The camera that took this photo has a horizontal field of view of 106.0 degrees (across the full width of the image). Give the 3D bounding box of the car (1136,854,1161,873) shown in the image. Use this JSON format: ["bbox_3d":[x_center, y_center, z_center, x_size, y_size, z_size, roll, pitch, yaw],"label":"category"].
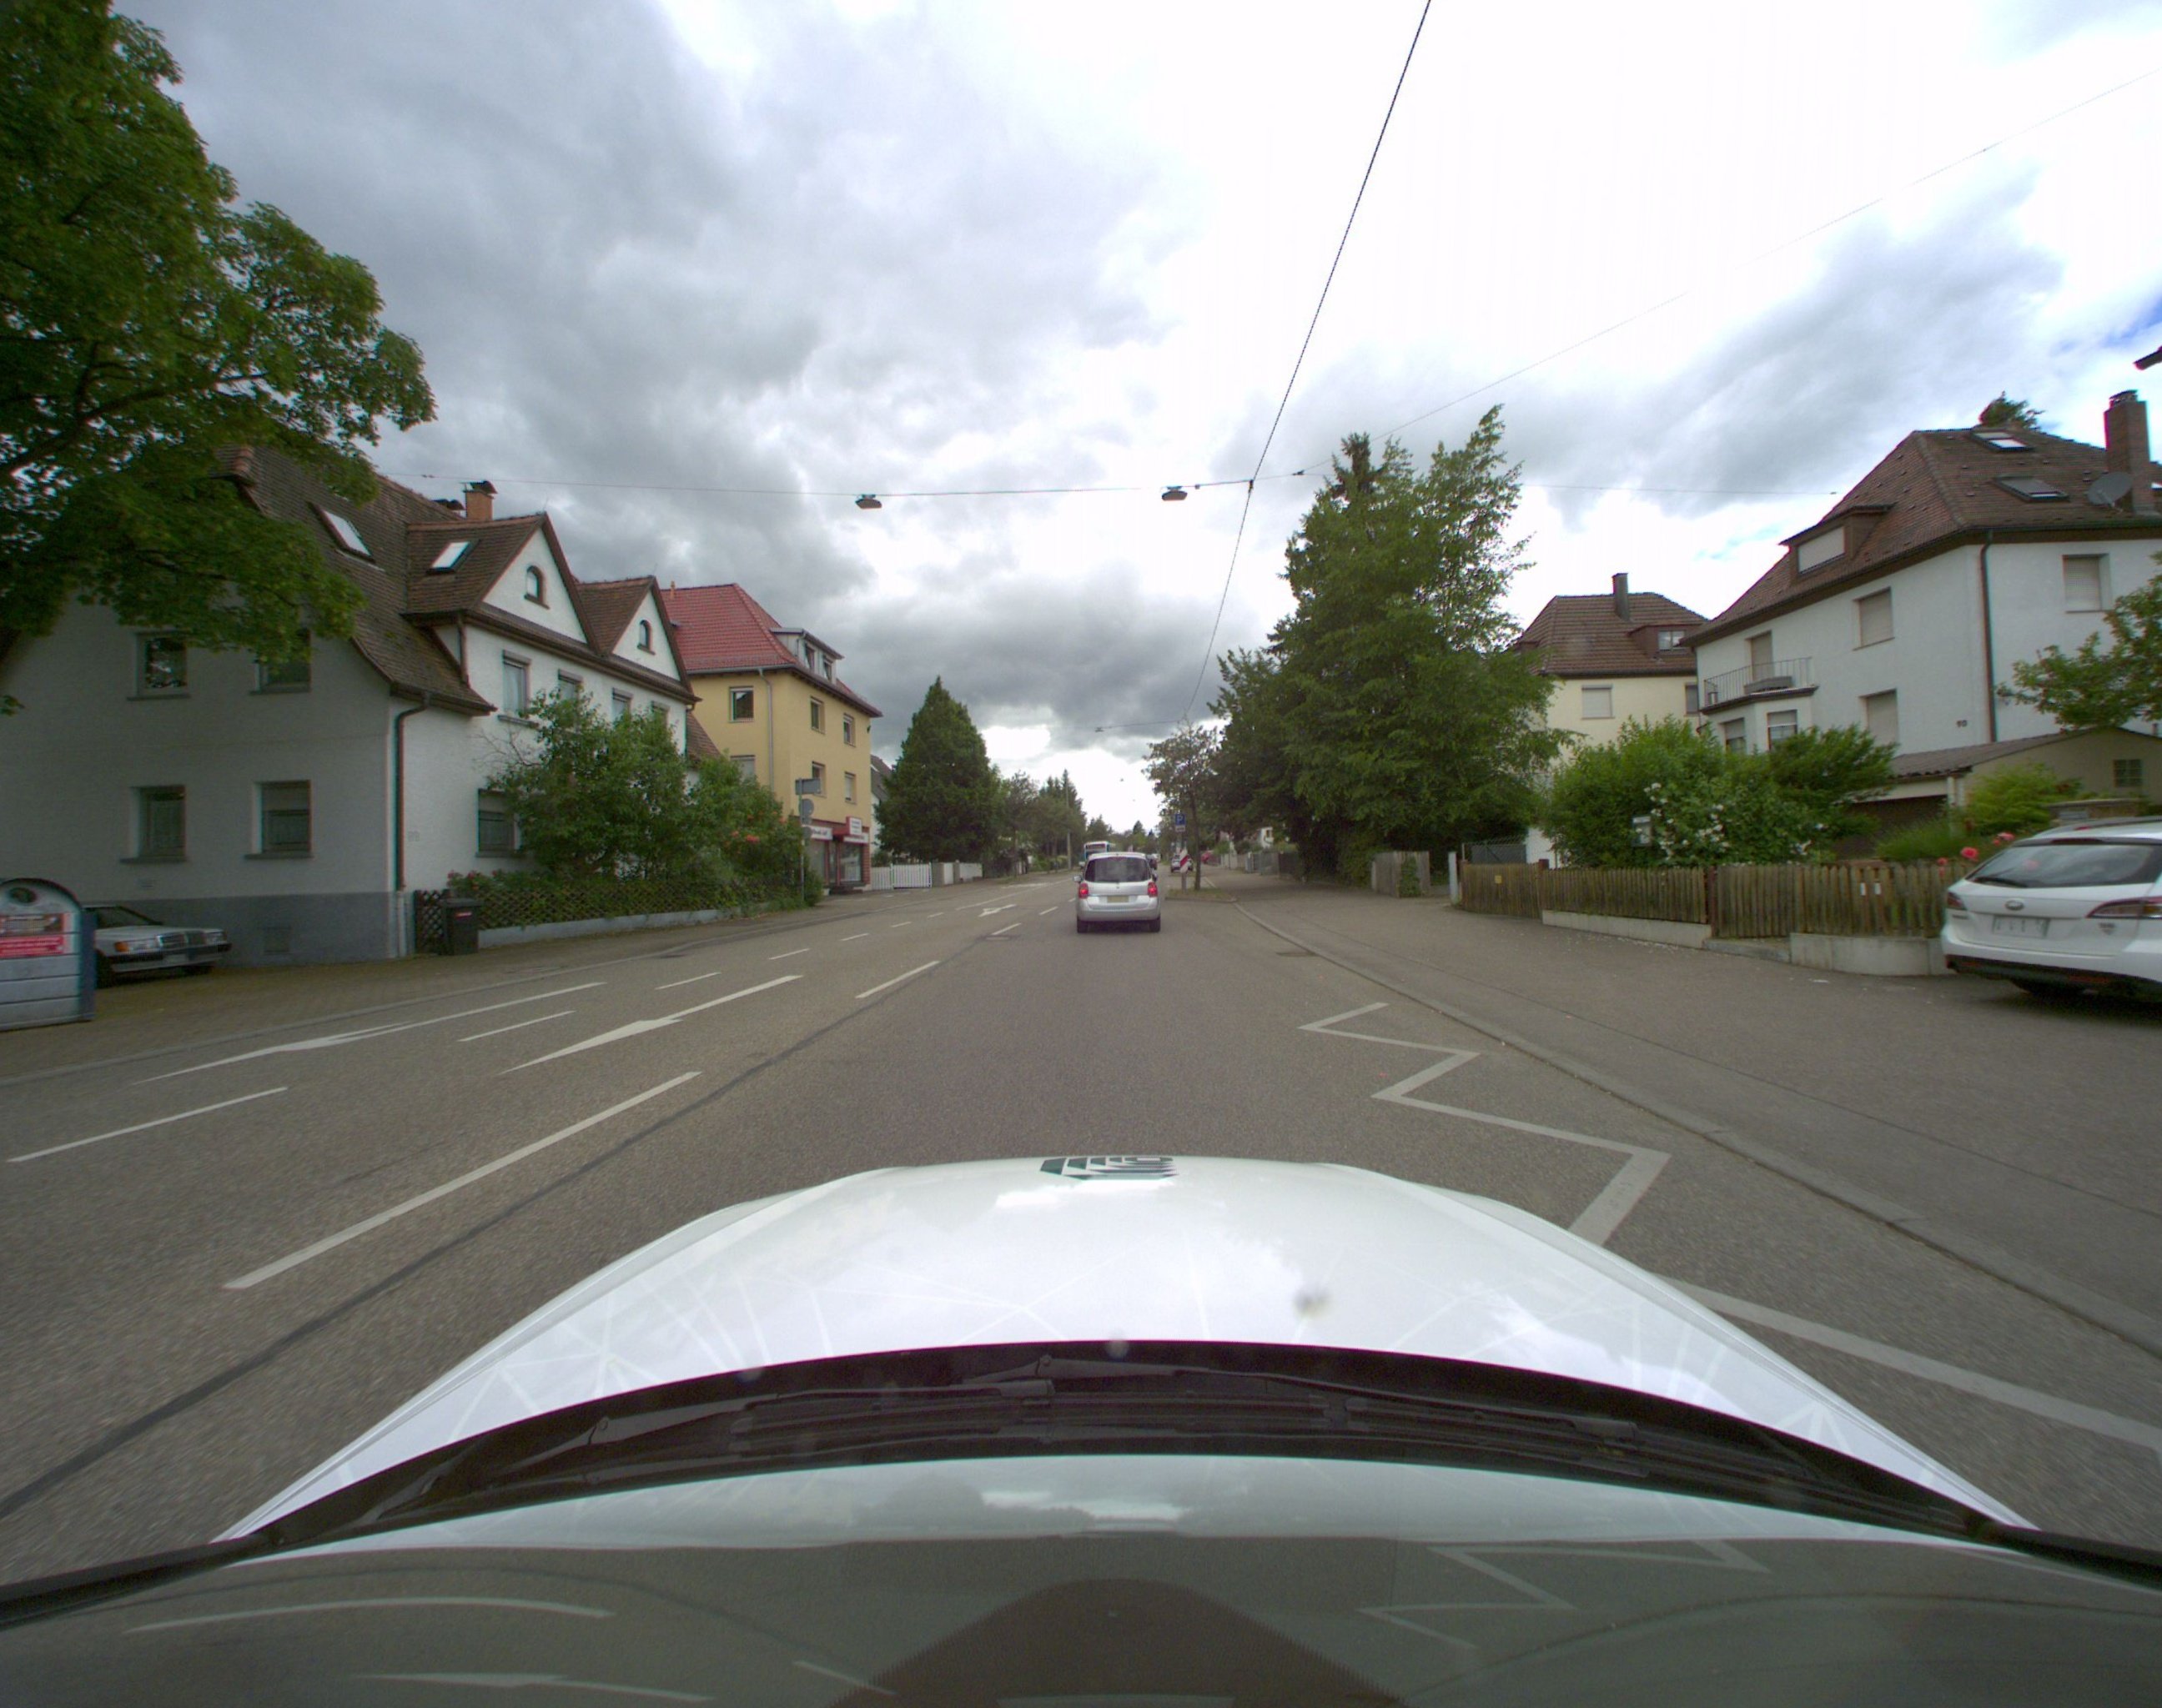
[{"bbox_3d":[6.276,0.861,75.274,1.817,1.675,3.586,-2,-1,12],"label":"car"}]

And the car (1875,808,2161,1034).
[{"bbox_3d":[9.325,0.333,6.254,4.400,1.488,1.867,-4,-2,4],"label":"car"}]

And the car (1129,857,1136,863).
[{"bbox_3d":[14.632,1.802,230.698,1.899,1.618,4.000,-1,-1,1],"label":"car"}]

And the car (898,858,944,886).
[{"bbox_3d":[-10.285,1.100,52.647,1.799,1.564,4.620,-4,0,2],"label":"car"}]

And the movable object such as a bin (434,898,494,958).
[{"bbox_3d":[-11.678,1.389,15.416,0.711,1.019,0.727,1,2,37],"label":"movable object such as a bin"}]

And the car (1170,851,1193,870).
[{"bbox_3d":[7.801,0.500,63.436,1.641,1.382,4.007,-1,-1,6],"label":"car"}]

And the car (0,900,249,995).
[{"bbox_3d":[-17.402,1.645,14.246,3.970,1.332,1.723,-4,-2,3],"label":"car"}]

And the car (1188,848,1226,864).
[{"bbox_3d":[14.757,0.272,95.573,3.978,1.496,1.808,-5,-1,-3],"label":"car"}]

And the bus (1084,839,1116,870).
[{"bbox_3d":[2.287,0.042,92.166,2.619,3.086,12.087,-4,0,5],"label":"bus"}]

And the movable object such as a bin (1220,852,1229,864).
[{"bbox_3d":[14.058,0.364,80.008,0.772,1.104,0.692,-2,0,5],"label":"movable object such as a bin"}]

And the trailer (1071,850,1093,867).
[{"bbox_3d":[0.134,0.614,102.979,2.301,2.087,5.879,-1,-1,4],"label":"trailer"}]

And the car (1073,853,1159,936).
[{"bbox_3d":[0.790,0.812,17.428,1.623,1.557,4.003,-1,-1,4],"label":"car"}]
